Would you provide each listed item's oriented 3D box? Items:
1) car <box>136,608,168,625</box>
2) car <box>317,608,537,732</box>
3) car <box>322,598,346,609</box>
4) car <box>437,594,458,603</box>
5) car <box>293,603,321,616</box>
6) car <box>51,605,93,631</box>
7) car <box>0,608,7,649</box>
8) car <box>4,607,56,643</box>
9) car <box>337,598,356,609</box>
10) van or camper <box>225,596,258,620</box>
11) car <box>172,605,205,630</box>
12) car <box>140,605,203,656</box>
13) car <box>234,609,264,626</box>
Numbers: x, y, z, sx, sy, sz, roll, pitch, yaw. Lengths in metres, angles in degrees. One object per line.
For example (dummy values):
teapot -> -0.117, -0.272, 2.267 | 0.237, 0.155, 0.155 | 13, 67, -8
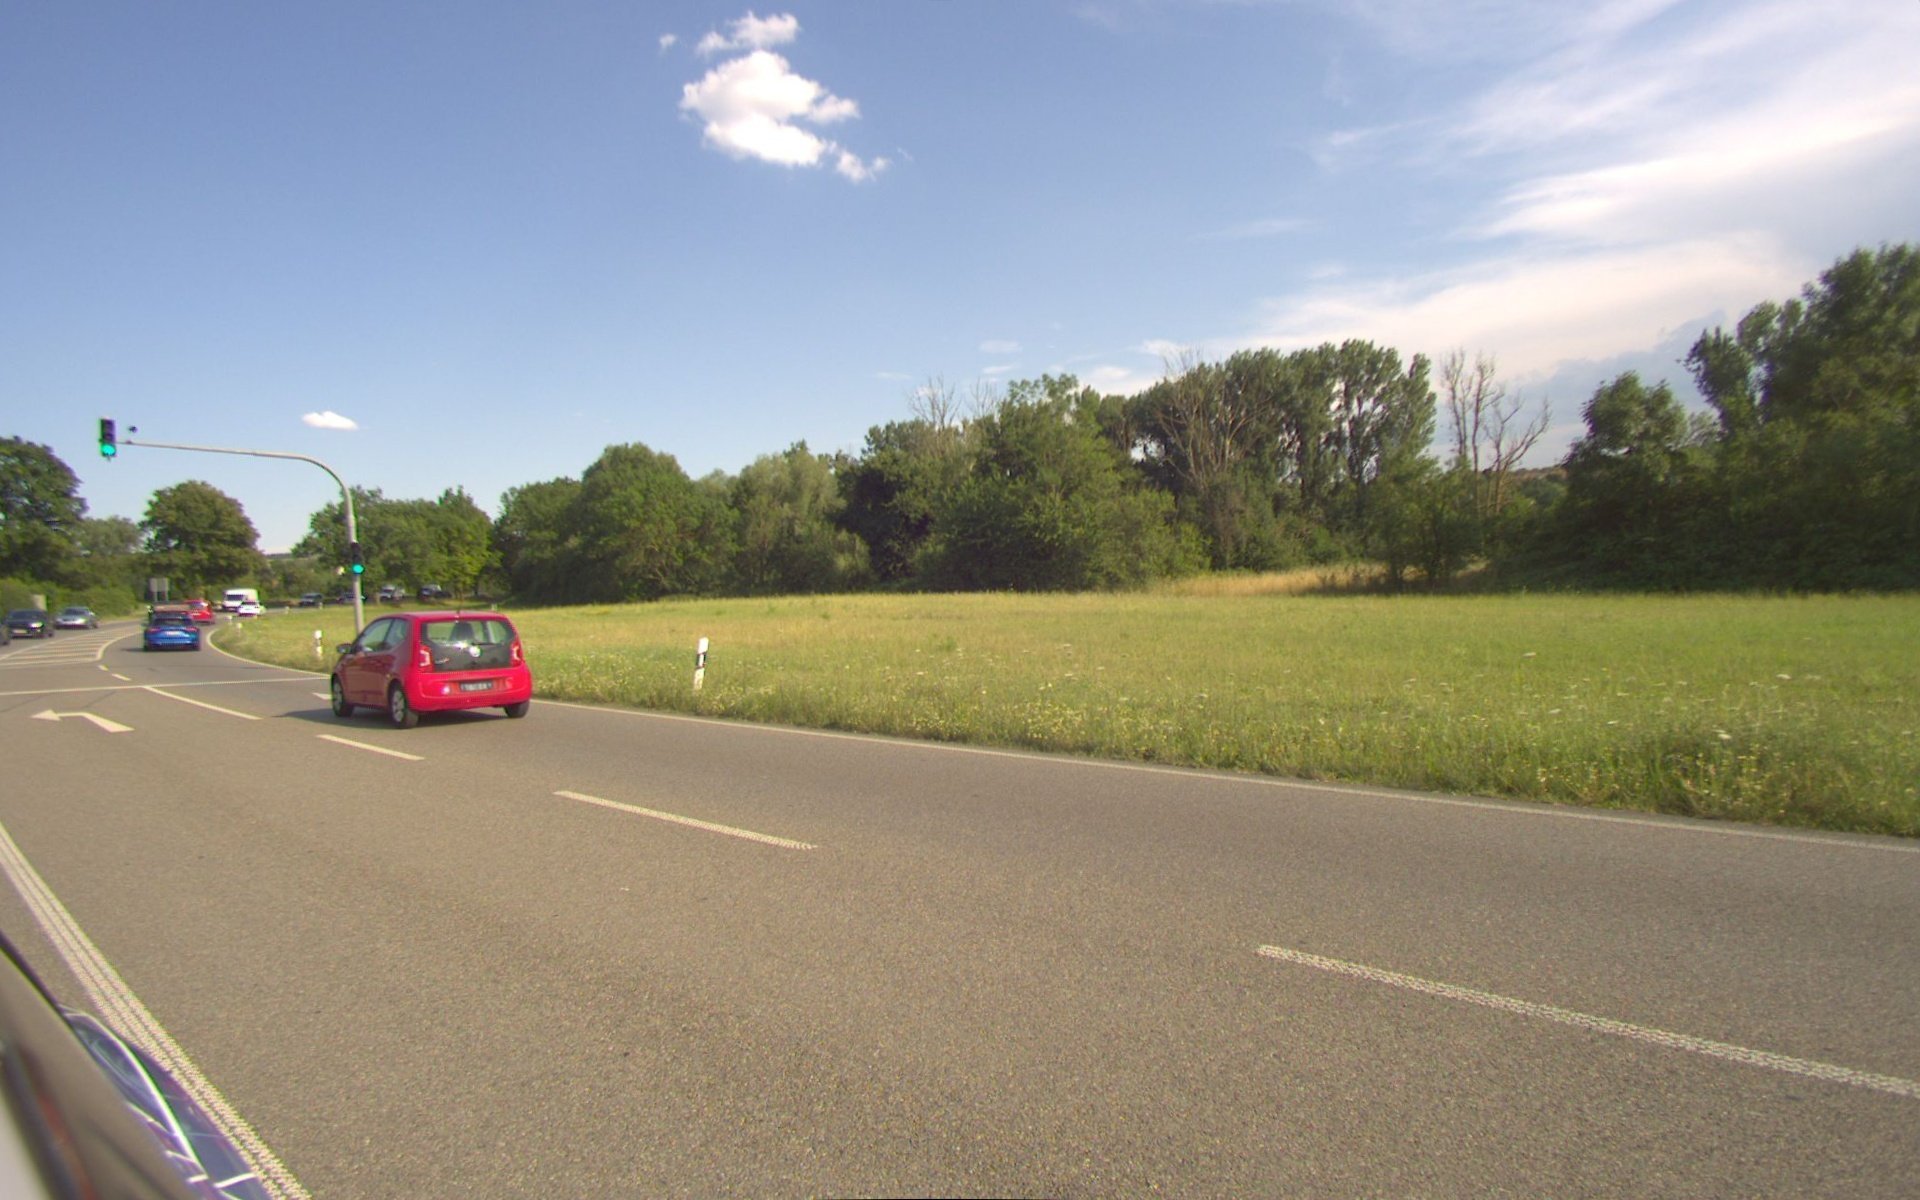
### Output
car -> -70.061, 1.439, 87.803 | 1.581, 1.490, 3.628 | 1, -1, -30
car -> -7.411, 0.885, 13.932 | 3.606, 1.478, 1.568 | -2, -2, 42
car -> -94.824, 0.509, 153.401 | 1.967, 1.563, 4.011 | -3, 2, -15
car -> -92.197, -0.178, 182.128 | 1.904, 1.598, 4.078 | 0, 0, -5
car -> -89.886, 1.247, 139.325 | 1.967, 1.563, 4.011 | -3, 2, -14
car -> -57.425, 1.149, 65.474 | 1.608, 1.570, 3.426 | 0, 0, -34
car -> -41.677, 1.205, 42.715 | 1.667, 1.741, 3.677 | 1, -1, -37
car -> -47.857, 1.273, 52.109 | 1.648, 1.741, 3.676 | 0, 0, -38
car -> -87.428, 0.538, 144.194 | 1.721, 1.478, 3.490 | 0, 0, -22
van or camper -> -80.862, 0.873, 113.938 | 2.000, 2.494, 5.094 | -3, 1, -25
car -> -56.785, 1.326, 74.507 | 1.856, 1.789, 4.331 | 0, -1, -37
car -> -31.494, 1.200, 40.379 | 1.703, 1.897, 4.341 | 0, -2, -42
car -> -70.215, 1.732, 99.989 | 1.854, 1.598, 4.344 | 0, -1, -27
